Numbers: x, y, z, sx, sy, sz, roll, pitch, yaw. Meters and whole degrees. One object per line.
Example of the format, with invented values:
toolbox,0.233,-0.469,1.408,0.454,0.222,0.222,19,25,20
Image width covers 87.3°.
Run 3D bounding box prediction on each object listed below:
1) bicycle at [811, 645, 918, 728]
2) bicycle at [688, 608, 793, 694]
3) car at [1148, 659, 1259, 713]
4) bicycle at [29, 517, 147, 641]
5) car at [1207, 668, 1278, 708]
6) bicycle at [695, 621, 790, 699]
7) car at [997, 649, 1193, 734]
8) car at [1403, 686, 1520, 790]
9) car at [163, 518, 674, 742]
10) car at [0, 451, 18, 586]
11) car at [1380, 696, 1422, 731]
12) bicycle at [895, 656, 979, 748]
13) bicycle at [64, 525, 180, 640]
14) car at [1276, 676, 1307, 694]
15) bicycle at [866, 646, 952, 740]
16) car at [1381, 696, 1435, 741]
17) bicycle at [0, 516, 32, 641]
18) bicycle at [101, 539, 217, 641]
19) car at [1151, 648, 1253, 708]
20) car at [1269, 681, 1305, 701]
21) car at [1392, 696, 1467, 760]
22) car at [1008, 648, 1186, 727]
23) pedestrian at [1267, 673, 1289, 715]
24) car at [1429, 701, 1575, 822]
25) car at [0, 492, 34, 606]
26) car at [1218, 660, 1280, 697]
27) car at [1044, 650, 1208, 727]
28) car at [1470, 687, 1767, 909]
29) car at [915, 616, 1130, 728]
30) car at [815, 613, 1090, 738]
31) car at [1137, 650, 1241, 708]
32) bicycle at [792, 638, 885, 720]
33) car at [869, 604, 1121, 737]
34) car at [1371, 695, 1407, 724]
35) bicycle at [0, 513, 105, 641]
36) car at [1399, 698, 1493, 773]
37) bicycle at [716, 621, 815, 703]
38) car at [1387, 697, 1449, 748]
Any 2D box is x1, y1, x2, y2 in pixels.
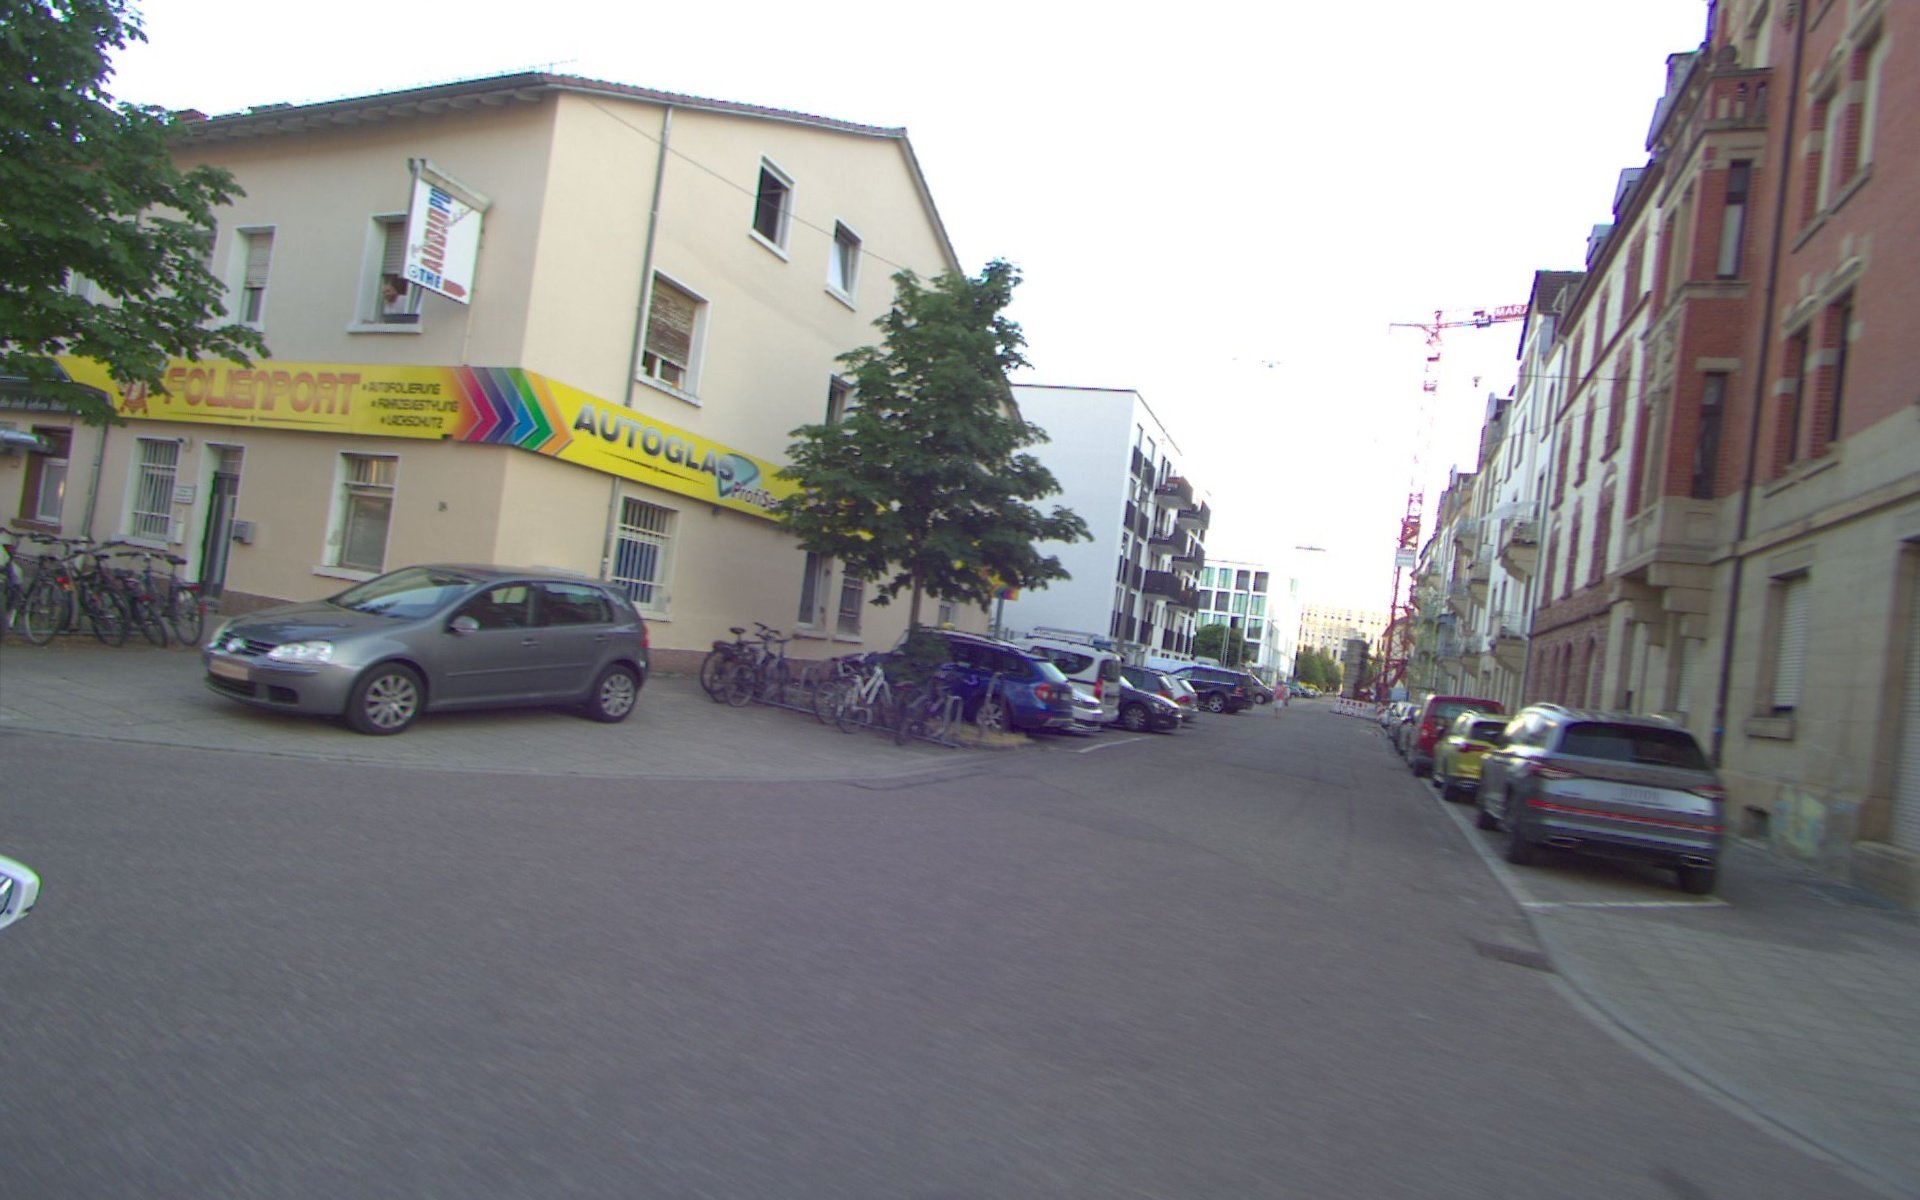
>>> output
bicycle,-1.280,1.214,13.898,0.420,1.022,1.856,10,-1,26
bicycle,-3.314,0.808,15.375,0.337,1.162,1.867,10,-1,26
car,10.465,3.663,43.277,4.254,1.802,1.961,5,-1,23
bicycle,-9.725,-0.245,11.209,1.454,1.215,0.354,7,1,25
car,19.048,5.895,67.830,4.254,2.194,1.878,5,-1,23
bicycle,-3.150,0.897,14.690,0.337,1.031,1.608,10,-1,23
car,3.264,2.155,24.251,4.254,1.462,1.792,5,-1,23
car,11.001,2.943,22.342,1.844,1.815,4.333,6,-2,23
car,-4.937,0.312,9.852,1.725,1.533,4.060,9,1,25
car,-16.319,-1.433,13.375,2.180,2.008,5.001,7,1,25
car,23.526,6.048,53.786,1.844,1.485,4.333,5,-2,23
bicycle,-0.272,1.352,13.560,0.420,1.087,1.858,10,-1,16
bicycle,-9.651,-0.210,11.572,1.454,1.157,0.354,7,1,25
car,47.959,12.269,145.537,3.938,1.902,2.001,7,-2,25
bicycle,-0.661,1.255,13.725,0.420,1.141,1.927,8,-2,16
car,19.018,4.989,42.810,1.844,1.485,4.333,5,-2,23
bicycle,-10.181,-0.284,10.307,1.454,1.215,0.386,7,1,25
bicycle,-9.532,-0.127,11.961,1.454,1.030,0.388,7,1,25
car,12.538,4.021,52.122,4.736,2.515,1.878,5,-1,23
car,41.612,11.541,128.054,3.938,1.902,2.001,7,-2,25
car,15.151,4.061,32.648,1.844,1.616,4.578,5,-2,23
car,3.664,2.298,26.931,4.254,1.555,1.878,5,-1,23
pedestrian,13.932,4.125,44.082,0.644,1.734,0.741,7,-2,22
car,9.144,2.637,17.293,1.639,1.494,4.333,5,-2,23
car,-14.000,-0.821,11.997,1.736,1.470,3.928,7,1,22
car,22.434,6.076,78.006,4.254,2.301,1.878,5,-1,23
car,4.809,2.511,29.080,4.253,1.660,1.945,5,-1,22
car,7.006,1.952,11.234,1.844,1.692,4.333,5,-2,23
car,1.394,1.554,22.393,4.254,1.924,1.878,5,-1,23
car,-0.143,1.308,18.100,4.489,1.527,1.747,7,-1,22
car,10.759,3.696,47.220,4.256,2.194,1.877,5,-1,26
bicycle,-1.693,1.134,14.227,0.337,1.053,1.608,10,-1,26
car,0.698,1.357,20.181,4.494,1.853,1.878,8,0,23
car,26.780,6.817,62.900,1.844,1.485,4.333,5,-2,23
bicycle,-9.912,-0.263,10.821,1.454,1.215,0.446,7,1,25
car,12.791,3.510,26.697,1.844,1.485,4.333,5,-2,23
bicycle,-2.800,0.935,14.639,0.337,1.082,1.738,10,-1,23
car,17.086,4.532,37.689,1.844,1.485,4.333,5,-2,23
